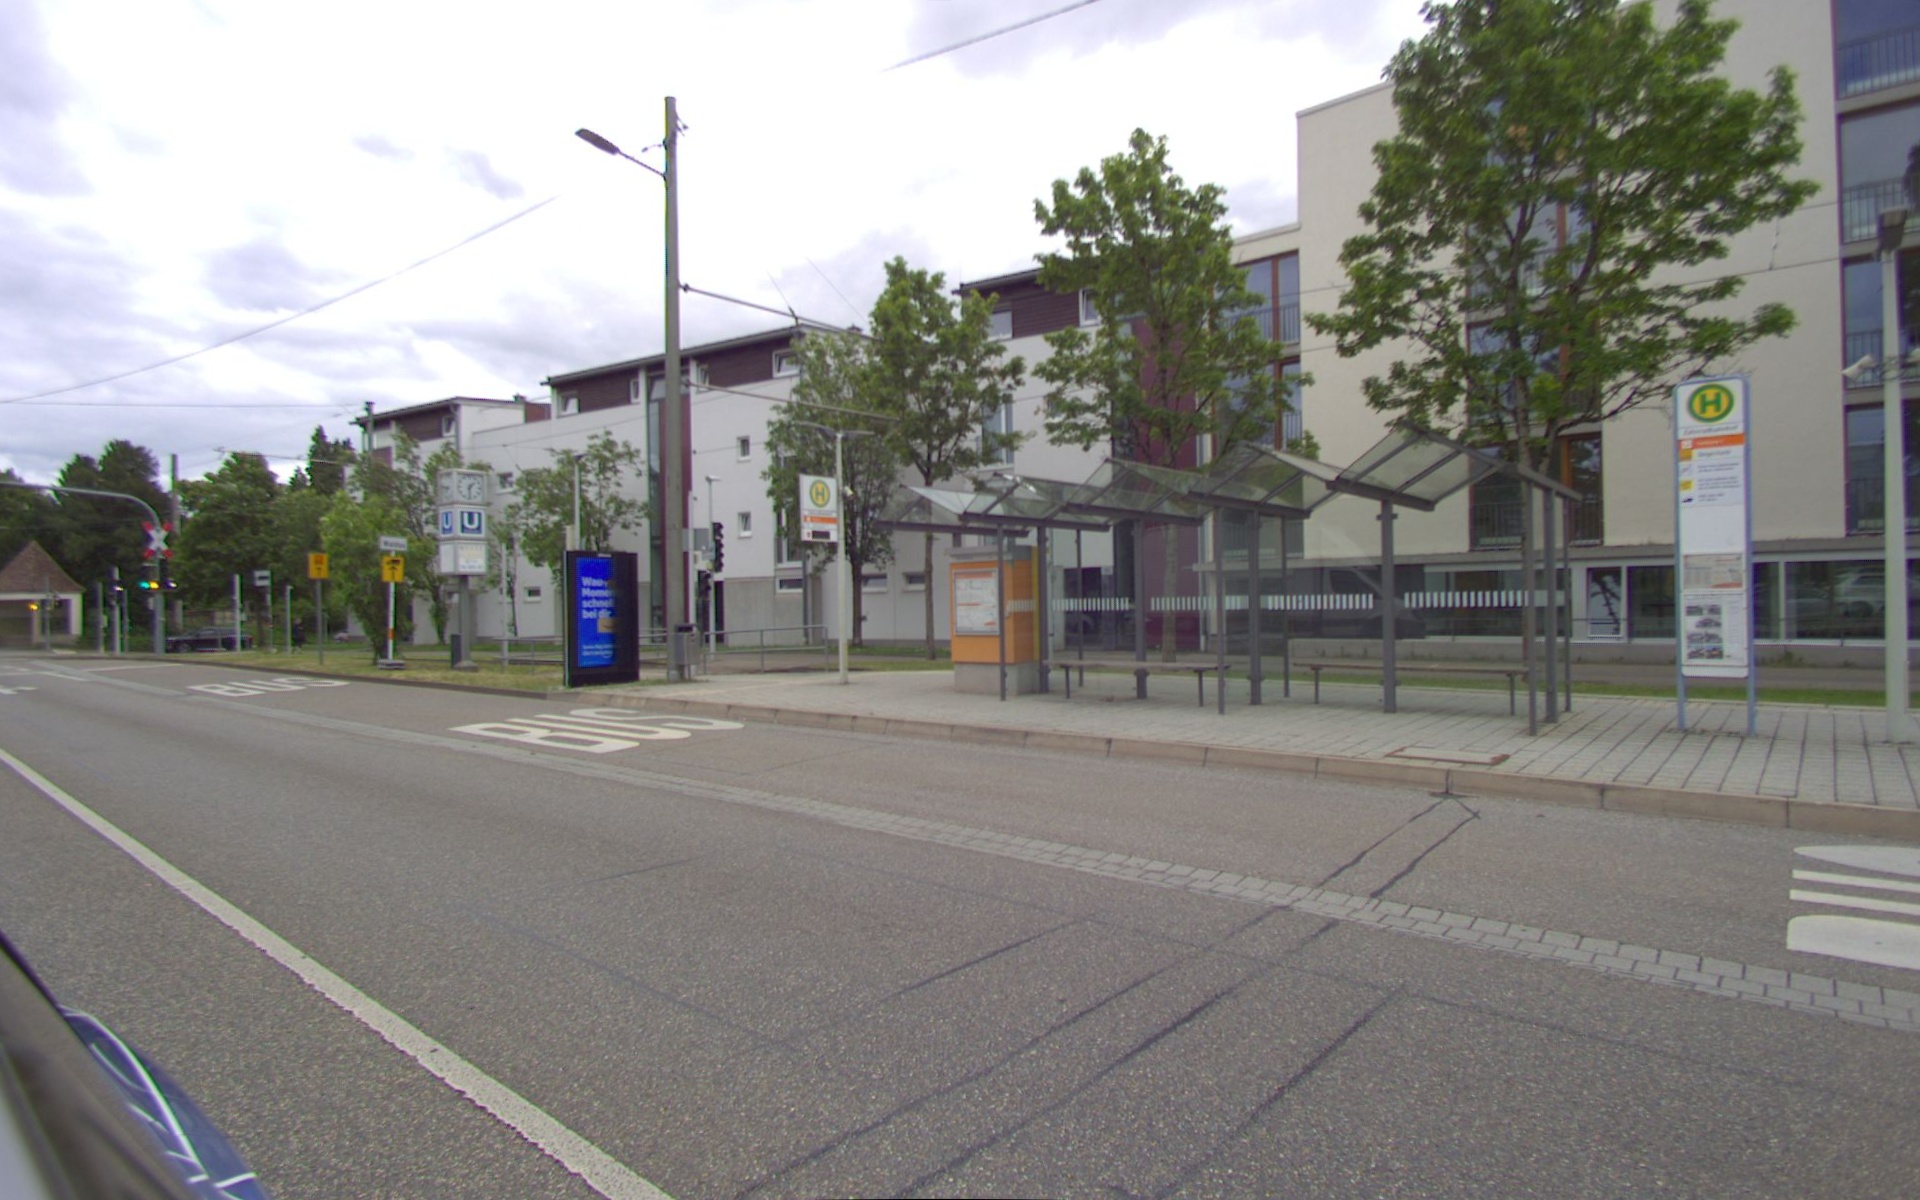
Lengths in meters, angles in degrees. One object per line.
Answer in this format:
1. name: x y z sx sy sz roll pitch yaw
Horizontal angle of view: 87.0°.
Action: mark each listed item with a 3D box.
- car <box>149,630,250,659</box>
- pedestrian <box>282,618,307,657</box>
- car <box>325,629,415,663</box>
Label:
1. car: -45.652 2.700 60.836 1.960 1.682 4.438 -1 -4 33
2. pedestrian: -29.006 1.650 44.097 0.817 1.657 0.669 -4 -4 35
3. car: -37.331 2.931 64.100 1.995 2.029 4.418 -1 -4 33
